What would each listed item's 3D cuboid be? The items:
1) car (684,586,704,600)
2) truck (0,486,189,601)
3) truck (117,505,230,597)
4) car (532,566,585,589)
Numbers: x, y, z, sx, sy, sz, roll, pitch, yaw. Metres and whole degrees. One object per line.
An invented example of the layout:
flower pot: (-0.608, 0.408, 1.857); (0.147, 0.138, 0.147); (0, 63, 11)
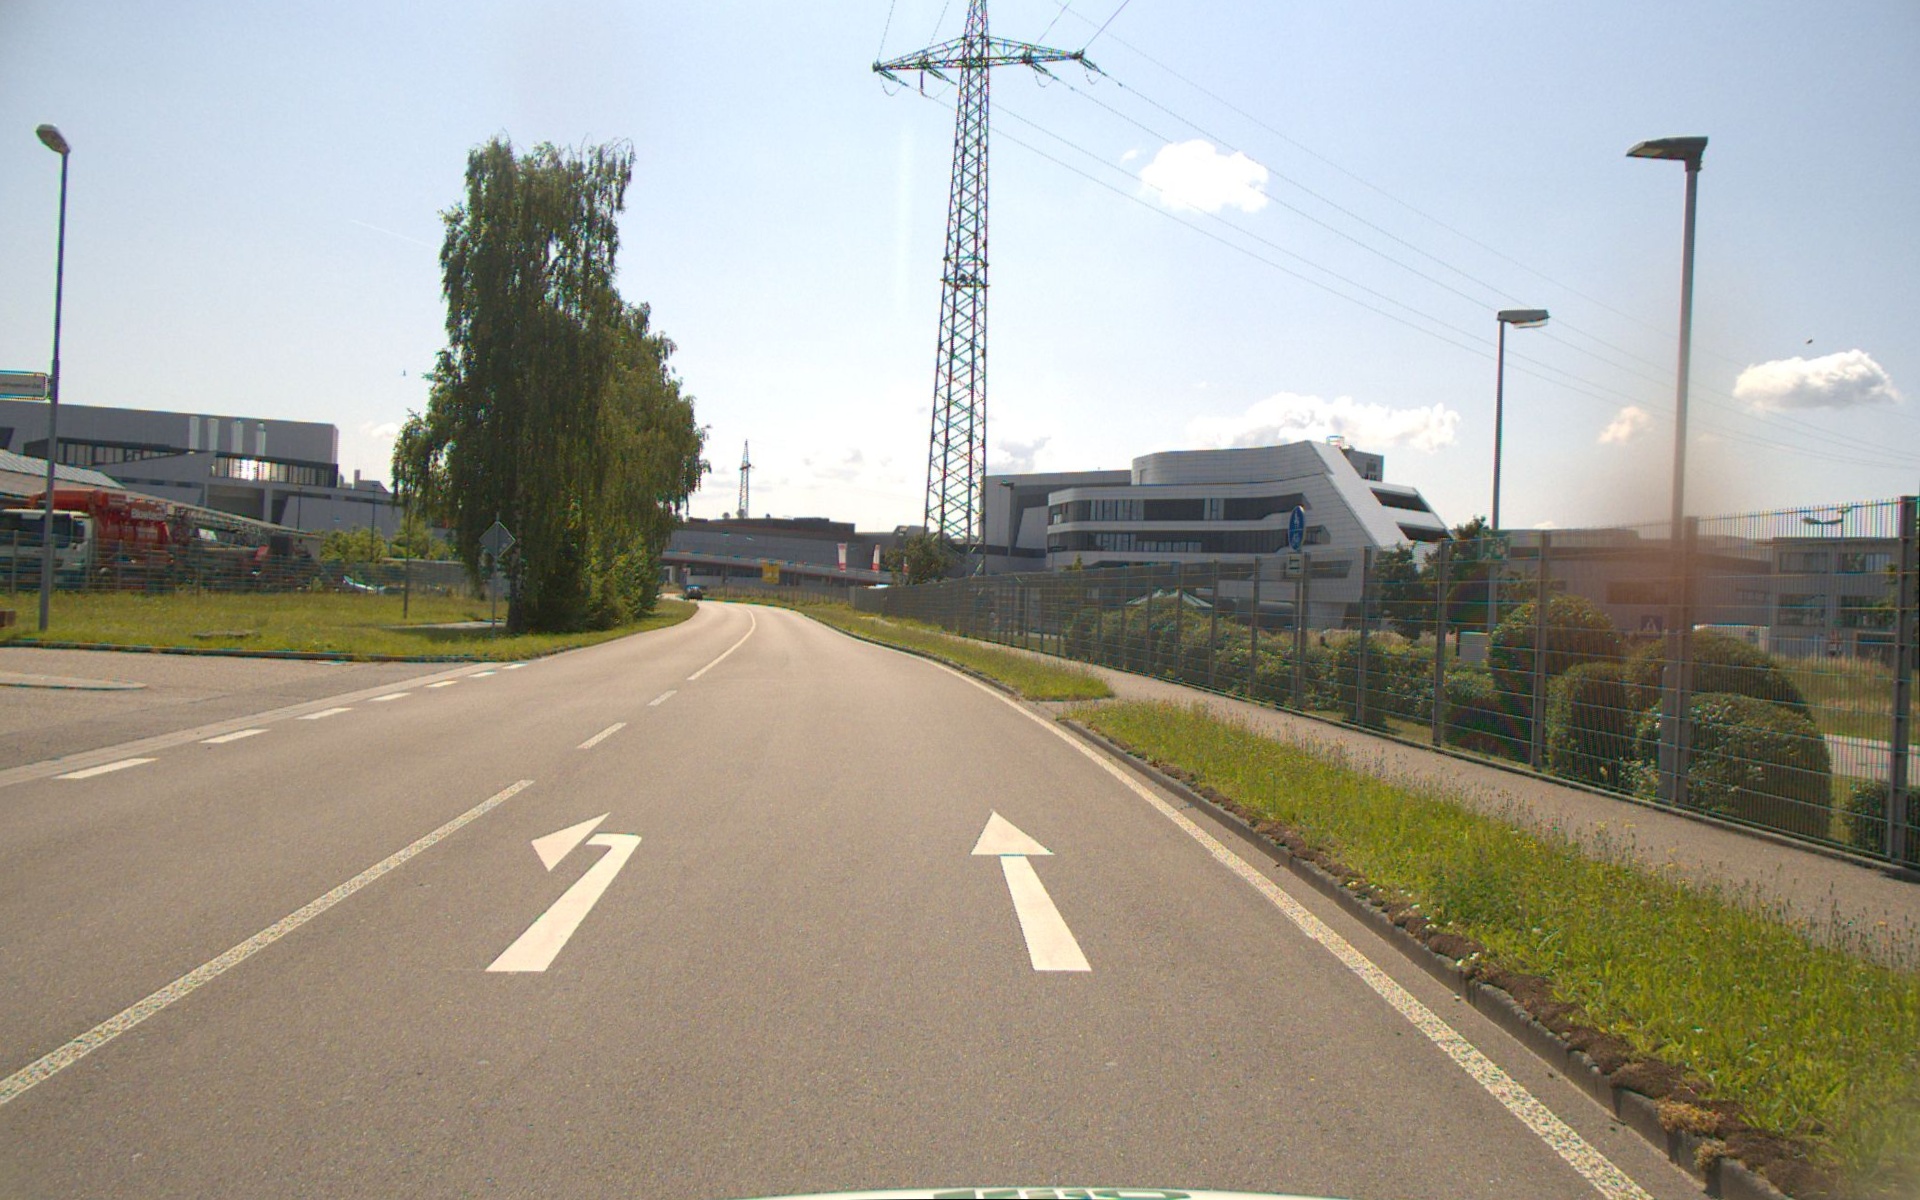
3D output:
car: (-30.476, -0.813, 189.609); (1.977, 1.534, 3.987); (3, 0, -13)
truck: (-30.867, -1.881, 59.034); (2.700, 3.620, 10.254); (3, 0, -6)
truck: (-32.439, -1.958, 68.430); (2.388, 3.512, 5.435); (3, 0, -6)
car: (-32.171, -1.810, 132.645); (3.913, 1.601, 1.996); (3, 0, -9)
